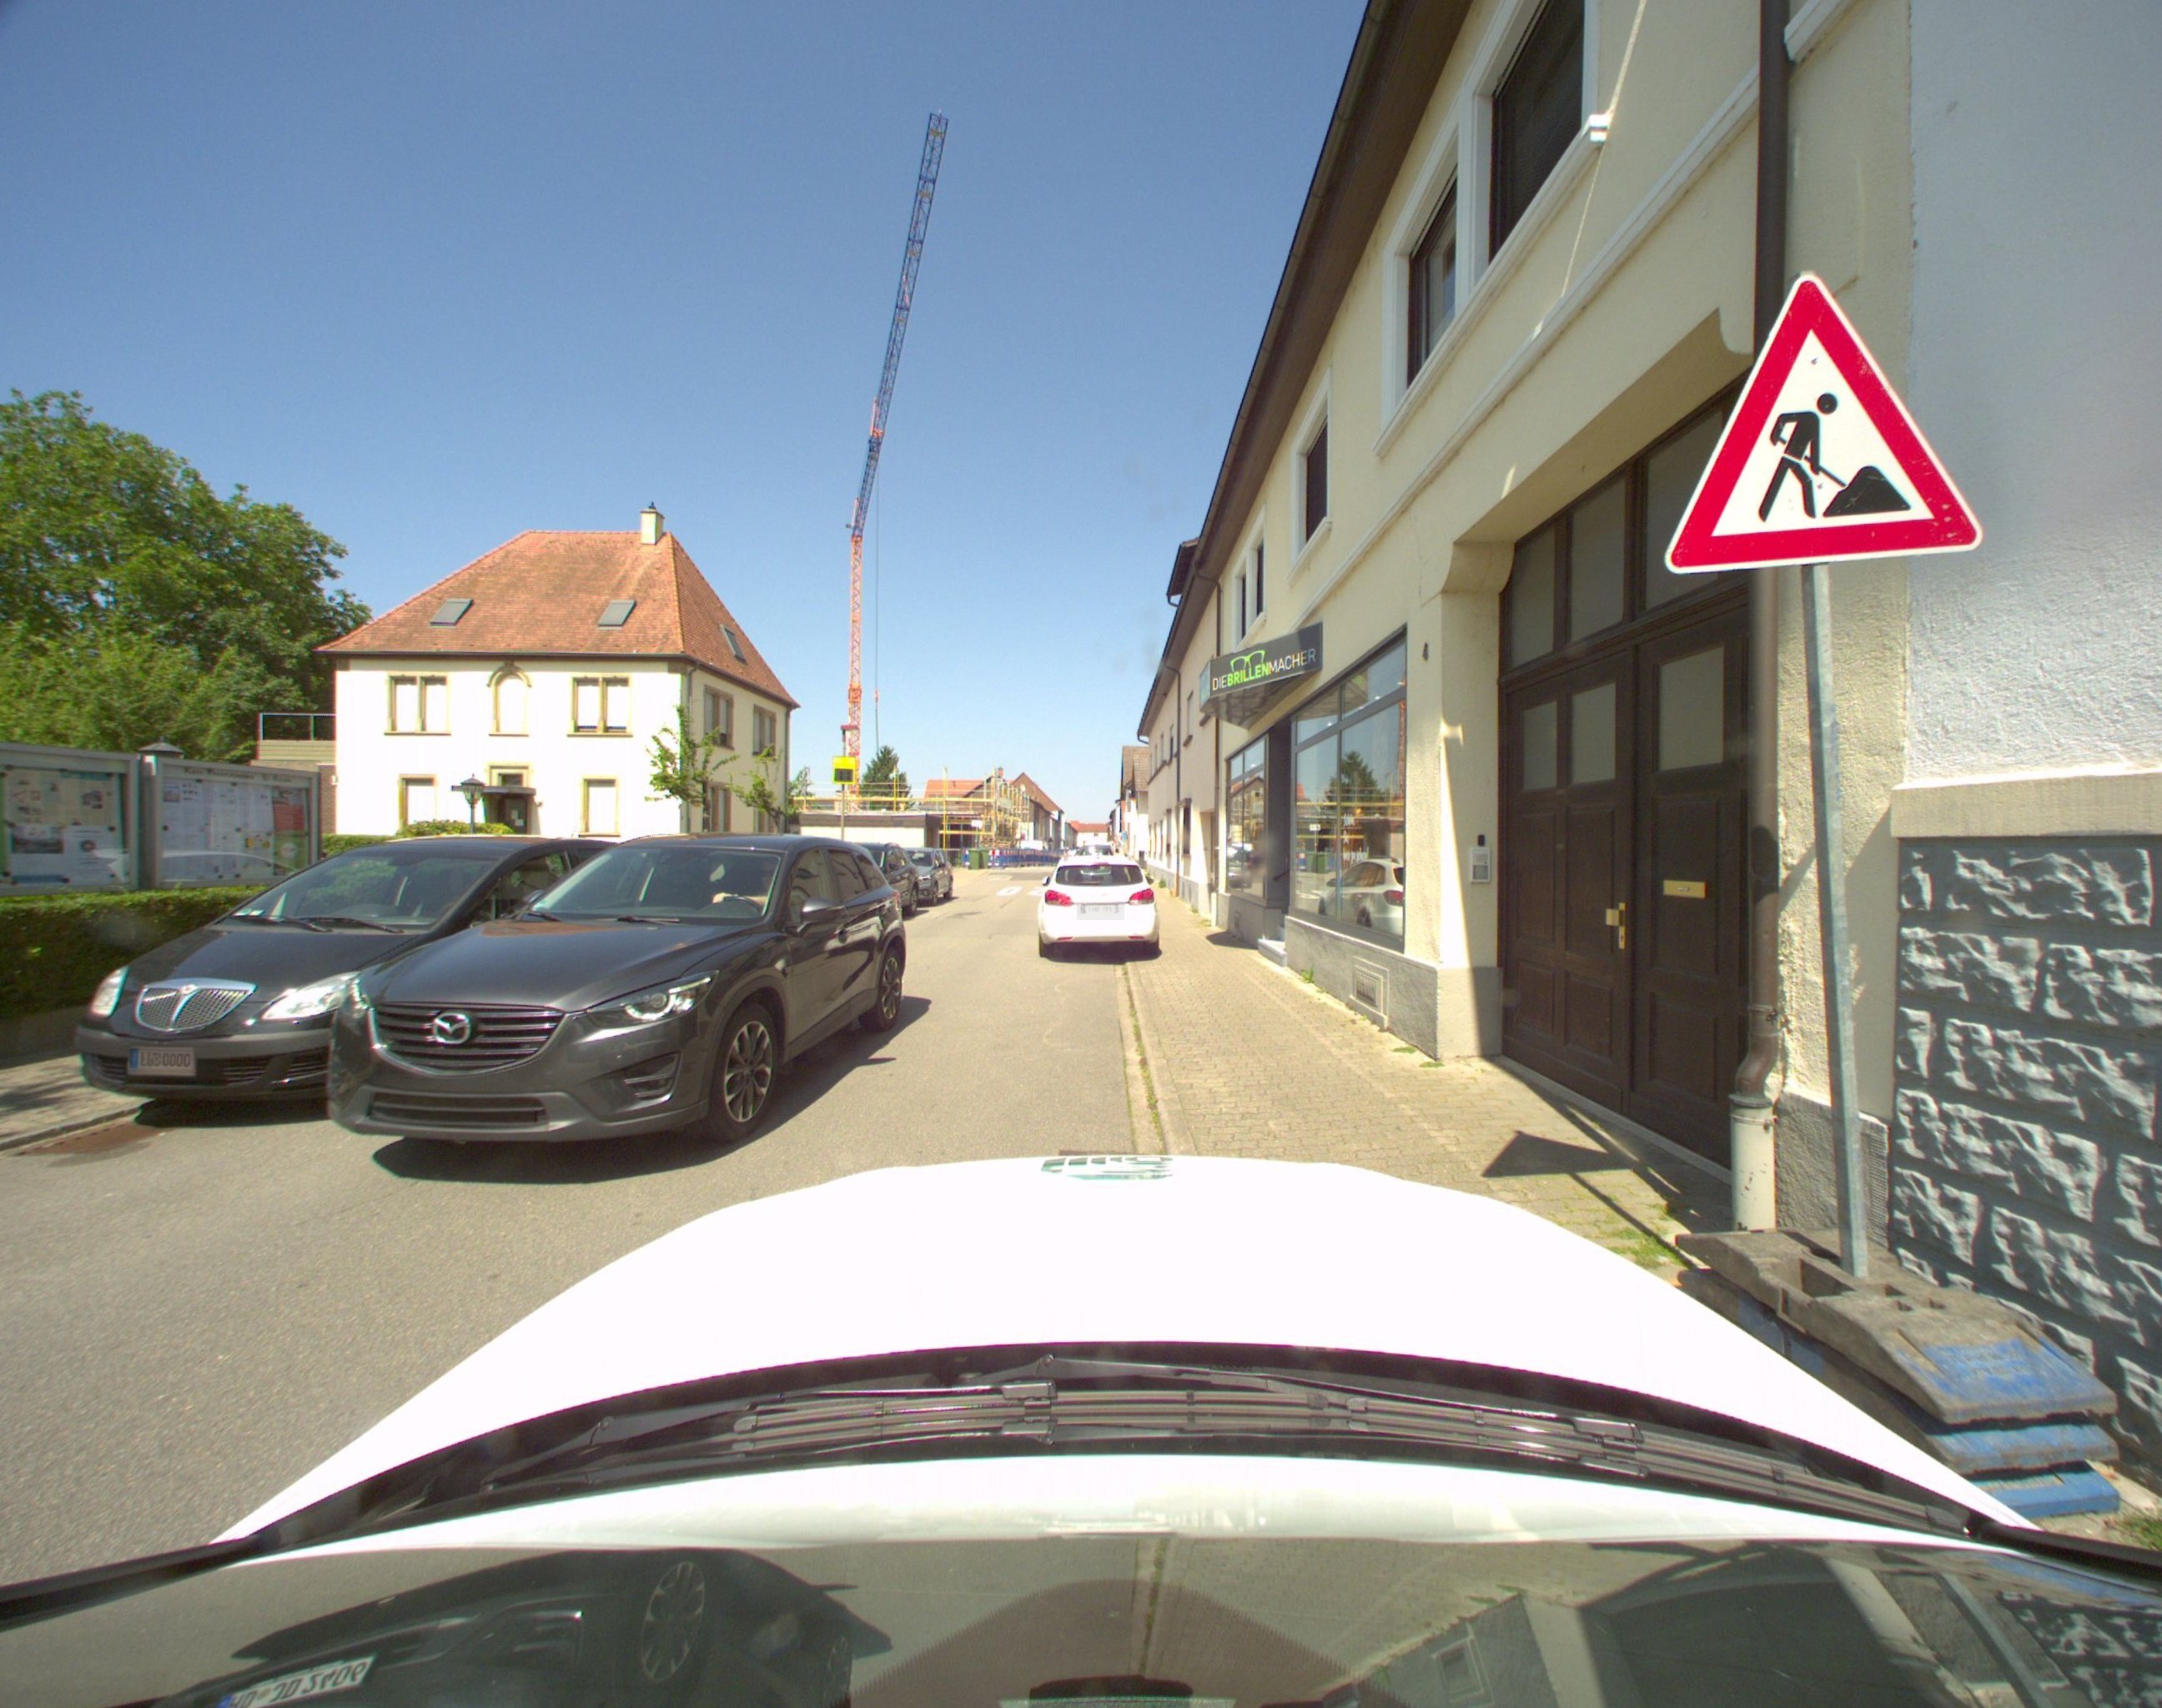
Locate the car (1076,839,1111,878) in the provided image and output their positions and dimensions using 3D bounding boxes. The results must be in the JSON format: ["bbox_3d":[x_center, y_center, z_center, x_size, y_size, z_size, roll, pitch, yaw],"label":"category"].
[{"bbox_3d":[0.598,0.175,38.223,1.558,1.612,3.544,1,3,1],"label":"car"}]

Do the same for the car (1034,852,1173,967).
[{"bbox_3d":[0.221,0.755,13.238,1.882,1.542,4.239,1,0,-3],"label":"car"}]

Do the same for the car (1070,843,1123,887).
[{"bbox_3d":[0.571,0.392,33.042,1.879,1.556,3.892,-3,1,-2],"label":"car"}]

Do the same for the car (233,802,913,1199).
[{"bbox_3d":[-2.615,0.605,5.559,1.874,1.668,4.156,1,0,3],"label":"car"}]

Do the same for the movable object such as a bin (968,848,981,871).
[{"bbox_3d":[-5.459,0.275,41.616,0.621,1.155,0.676,0,0,-6],"label":"movable object such as a bin"}]

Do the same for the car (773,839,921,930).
[{"bbox_3d":[-4.667,0.540,16.936,1.820,1.630,4.217,1,0,0],"label":"car"}]

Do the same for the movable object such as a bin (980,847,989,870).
[{"bbox_3d":[-4.992,0.237,42.093,0.431,1.155,0.363,0,0,-9],"label":"movable object such as a bin"}]

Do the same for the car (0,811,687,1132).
[{"bbox_3d":[-4.686,0.579,6.052,1.632,1.628,3.768,1,1,1],"label":"car"}]

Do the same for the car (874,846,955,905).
[{"bbox_3d":[-4.472,0.535,22.362,1.432,1.474,3.786,0,0,0],"label":"car"}]
